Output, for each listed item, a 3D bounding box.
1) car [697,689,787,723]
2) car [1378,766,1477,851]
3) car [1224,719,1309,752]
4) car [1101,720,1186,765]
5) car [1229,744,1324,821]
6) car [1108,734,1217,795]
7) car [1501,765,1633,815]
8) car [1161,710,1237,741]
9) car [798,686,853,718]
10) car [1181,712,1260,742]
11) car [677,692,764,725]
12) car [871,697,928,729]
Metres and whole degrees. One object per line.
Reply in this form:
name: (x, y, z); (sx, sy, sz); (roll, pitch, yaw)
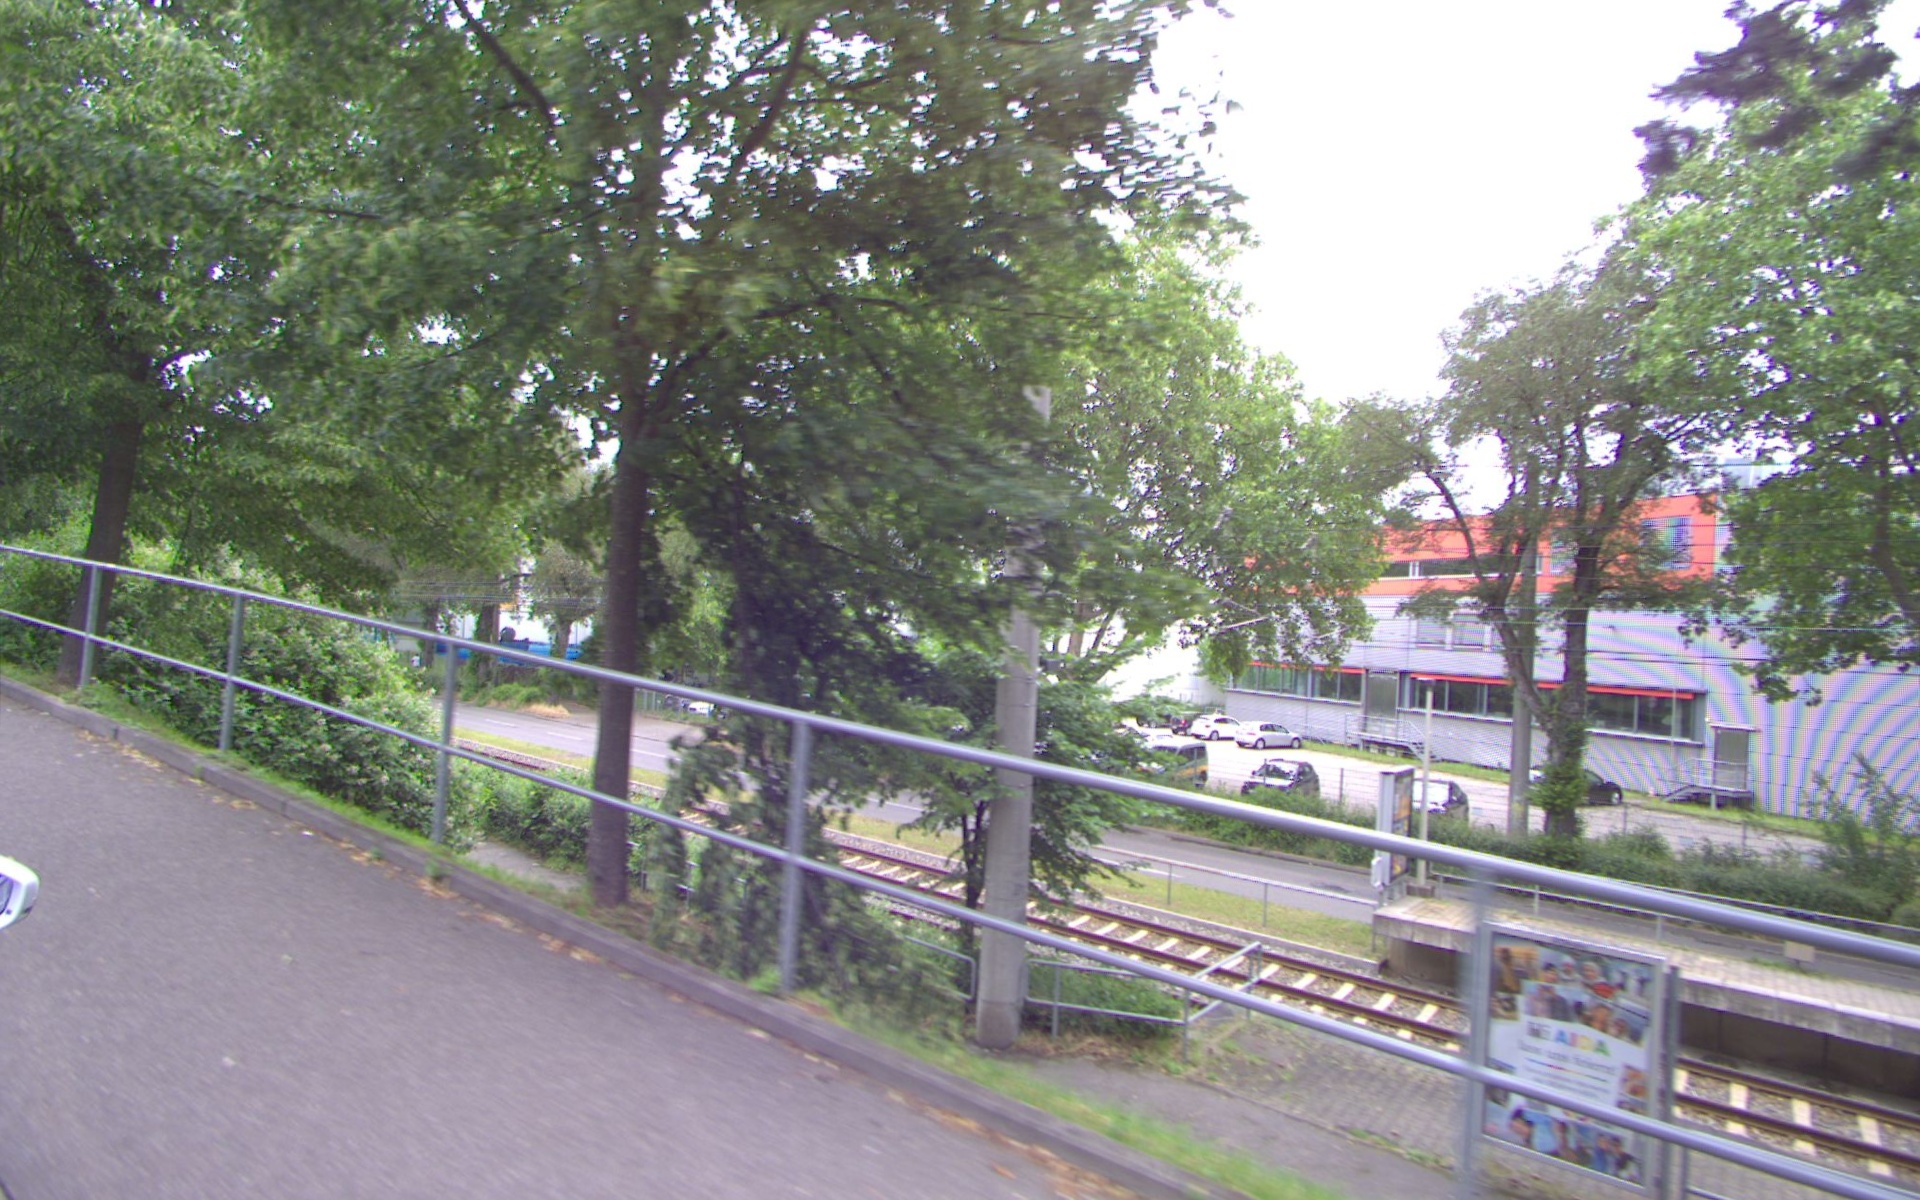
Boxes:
car: (-11.585, 5.648, 53.700); (1.971, 1.486, 4.325); (5, -2, 39)
car: (15.057, 6.604, 32.313); (1.970, 2.038, 3.987); (5, -1, 37)
car: (17.438, 7.698, 57.301); (4.276, 1.488, 1.992); (1, 1, -20)
car: (9.165, 7.138, 50.598); (1.975, 1.486, 4.318); (6, -1, -25)
car: (10.993, 6.223, 34.750); (1.968, 2.038, 3.990); (6, -1, 34)
car: (7.694, 6.141, 37.938); (1.972, 1.813, 4.562); (5, -1, 40)
car: (23.947, 7.481, 39.710); (4.467, 1.392, 1.993); (7, -1, -19)
car: (15.172, 7.937, 63.838); (4.290, 1.486, 1.988); (7, -1, -26)
car: (-8.774, 6.588, 65.394); (1.978, 1.486, 4.311); (7, -1, -30)
car: (15.898, 7.755, 61.408); (4.279, 1.488, 1.990); (2, 1, -22)
car: (-13.061, 5.931, 55.038); (1.800, 1.523, 4.325); (5, -2, 39)
car: (-4.062, 7.484, 66.862); (1.978, 1.486, 4.311); (7, -1, -30)
